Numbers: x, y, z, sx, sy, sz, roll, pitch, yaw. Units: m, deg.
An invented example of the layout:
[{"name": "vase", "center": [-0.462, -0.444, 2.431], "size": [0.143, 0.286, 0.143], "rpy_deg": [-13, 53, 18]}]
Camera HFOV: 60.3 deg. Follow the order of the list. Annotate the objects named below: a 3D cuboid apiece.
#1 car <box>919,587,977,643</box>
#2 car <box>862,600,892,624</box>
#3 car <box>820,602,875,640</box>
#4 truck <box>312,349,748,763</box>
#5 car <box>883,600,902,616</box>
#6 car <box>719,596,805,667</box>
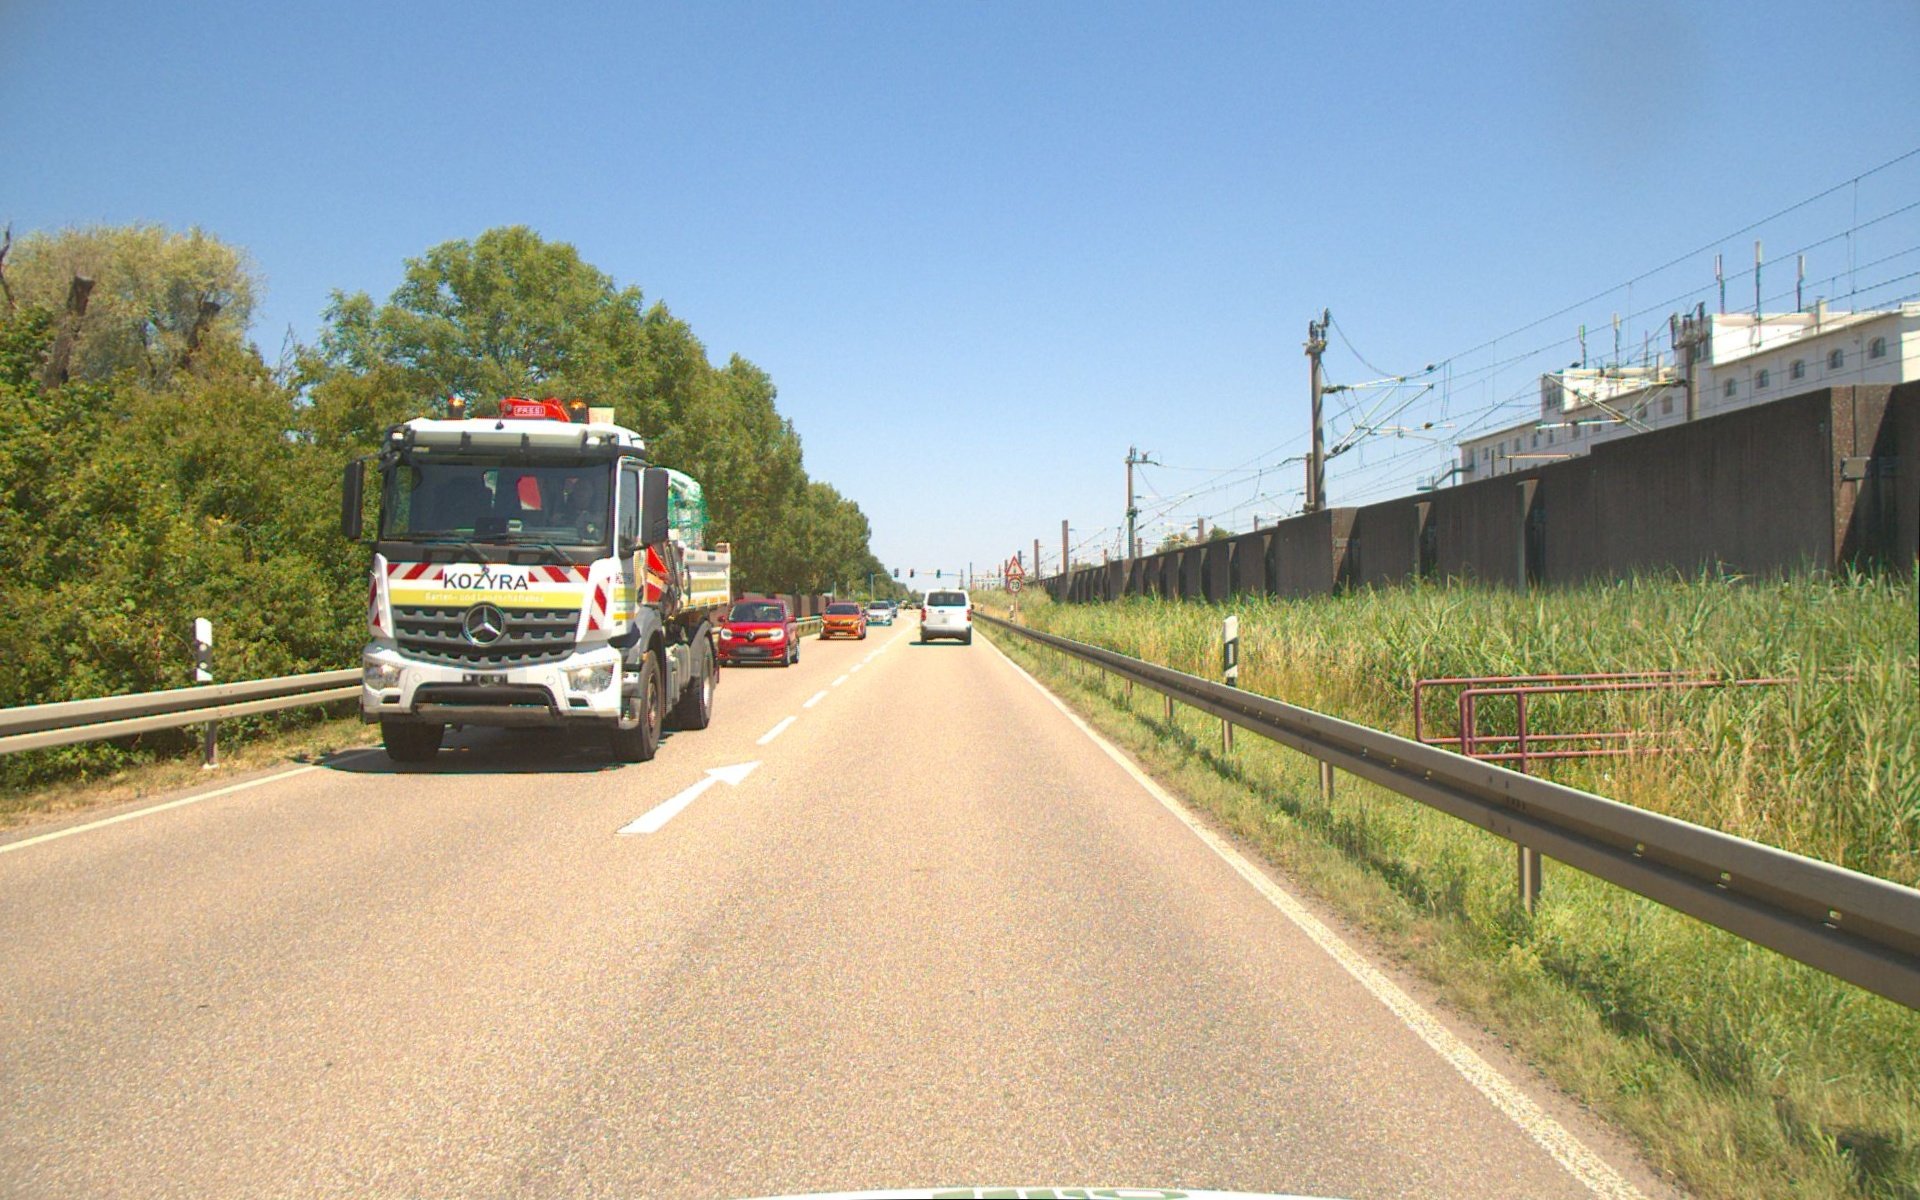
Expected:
[{"name": "car", "center": [-0.436, 0.514, 59.466], "size": [1.953, 1.882, 3.999], "rpy_deg": [1, 0, -1]}, {"name": "car", "center": [-5.364, 0.789, 107.851], "size": [1.753, 1.552, 4.389], "rpy_deg": [0, 0, 0]}, {"name": "car", "center": [-4.467, 0.819, 65.971], "size": [1.752, 1.446, 4.001], "rpy_deg": [0, 0, 2]}, {"name": "truck", "center": [-4.156, -0.380, 18.026], "size": [2.727, 3.464, 7.987], "rpy_deg": [1, 0, -1]}, {"name": "car", "center": [-6.308, 0.735, 154.906], "size": [1.753, 1.552, 4.389], "rpy_deg": [0, 0, -1]}, {"name": "car", "center": [-4.612, 0.706, 38.954], "size": [1.619, 1.579, 3.999], "rpy_deg": [0, 0, -1]}]
